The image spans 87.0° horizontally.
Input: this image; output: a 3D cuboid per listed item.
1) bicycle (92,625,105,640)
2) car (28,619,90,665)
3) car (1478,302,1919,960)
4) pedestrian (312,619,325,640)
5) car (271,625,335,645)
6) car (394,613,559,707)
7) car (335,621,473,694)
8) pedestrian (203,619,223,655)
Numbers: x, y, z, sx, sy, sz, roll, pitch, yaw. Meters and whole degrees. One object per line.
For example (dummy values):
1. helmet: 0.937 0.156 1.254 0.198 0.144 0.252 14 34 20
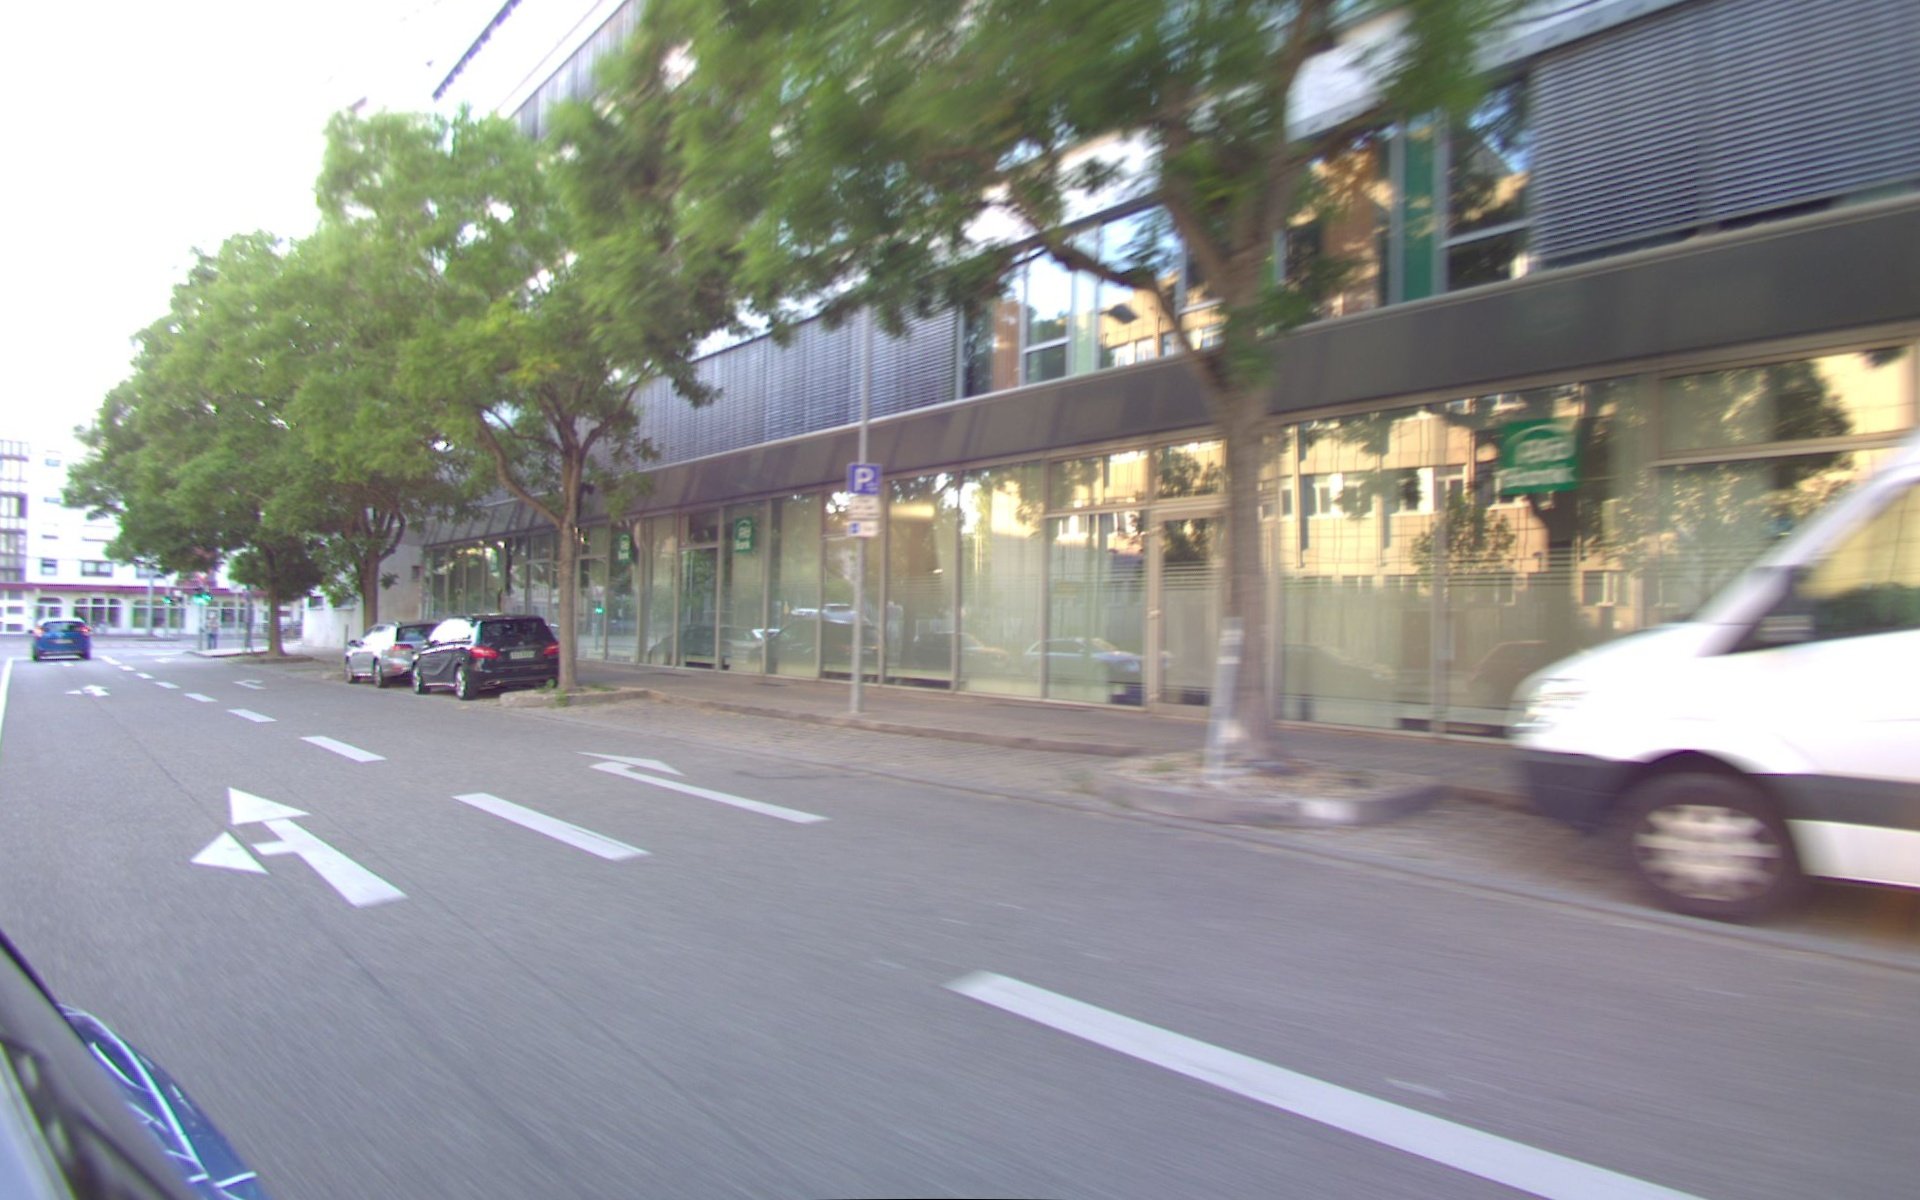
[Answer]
1. bicycle: -65.194 2.448 76.580 1.903 1.054 0.508 -1 -3 44
2. car: -35.756 1.620 40.143 1.727 1.691 4.277 1 -1 -43
3. car: 5.890 0.113 3.551 2.075 2.684 6.957 2 -2 -43
4. pedestrian: -55.866 2.536 88.139 0.823 1.820 0.692 2 -2 -42
5. car: -53.001 2.824 81.650 4.040 1.608 1.667 2 -3 -44
6. car: -9.528 1.092 19.769 1.571 1.580 4.475 -2 0 -44
7. car: -13.085 1.270 23.673 1.683 1.472 4.630 -2 0 -44
8. pedestrian: -36.842 1.820 49.928 0.537 1.714 0.709 1 -2 -16
